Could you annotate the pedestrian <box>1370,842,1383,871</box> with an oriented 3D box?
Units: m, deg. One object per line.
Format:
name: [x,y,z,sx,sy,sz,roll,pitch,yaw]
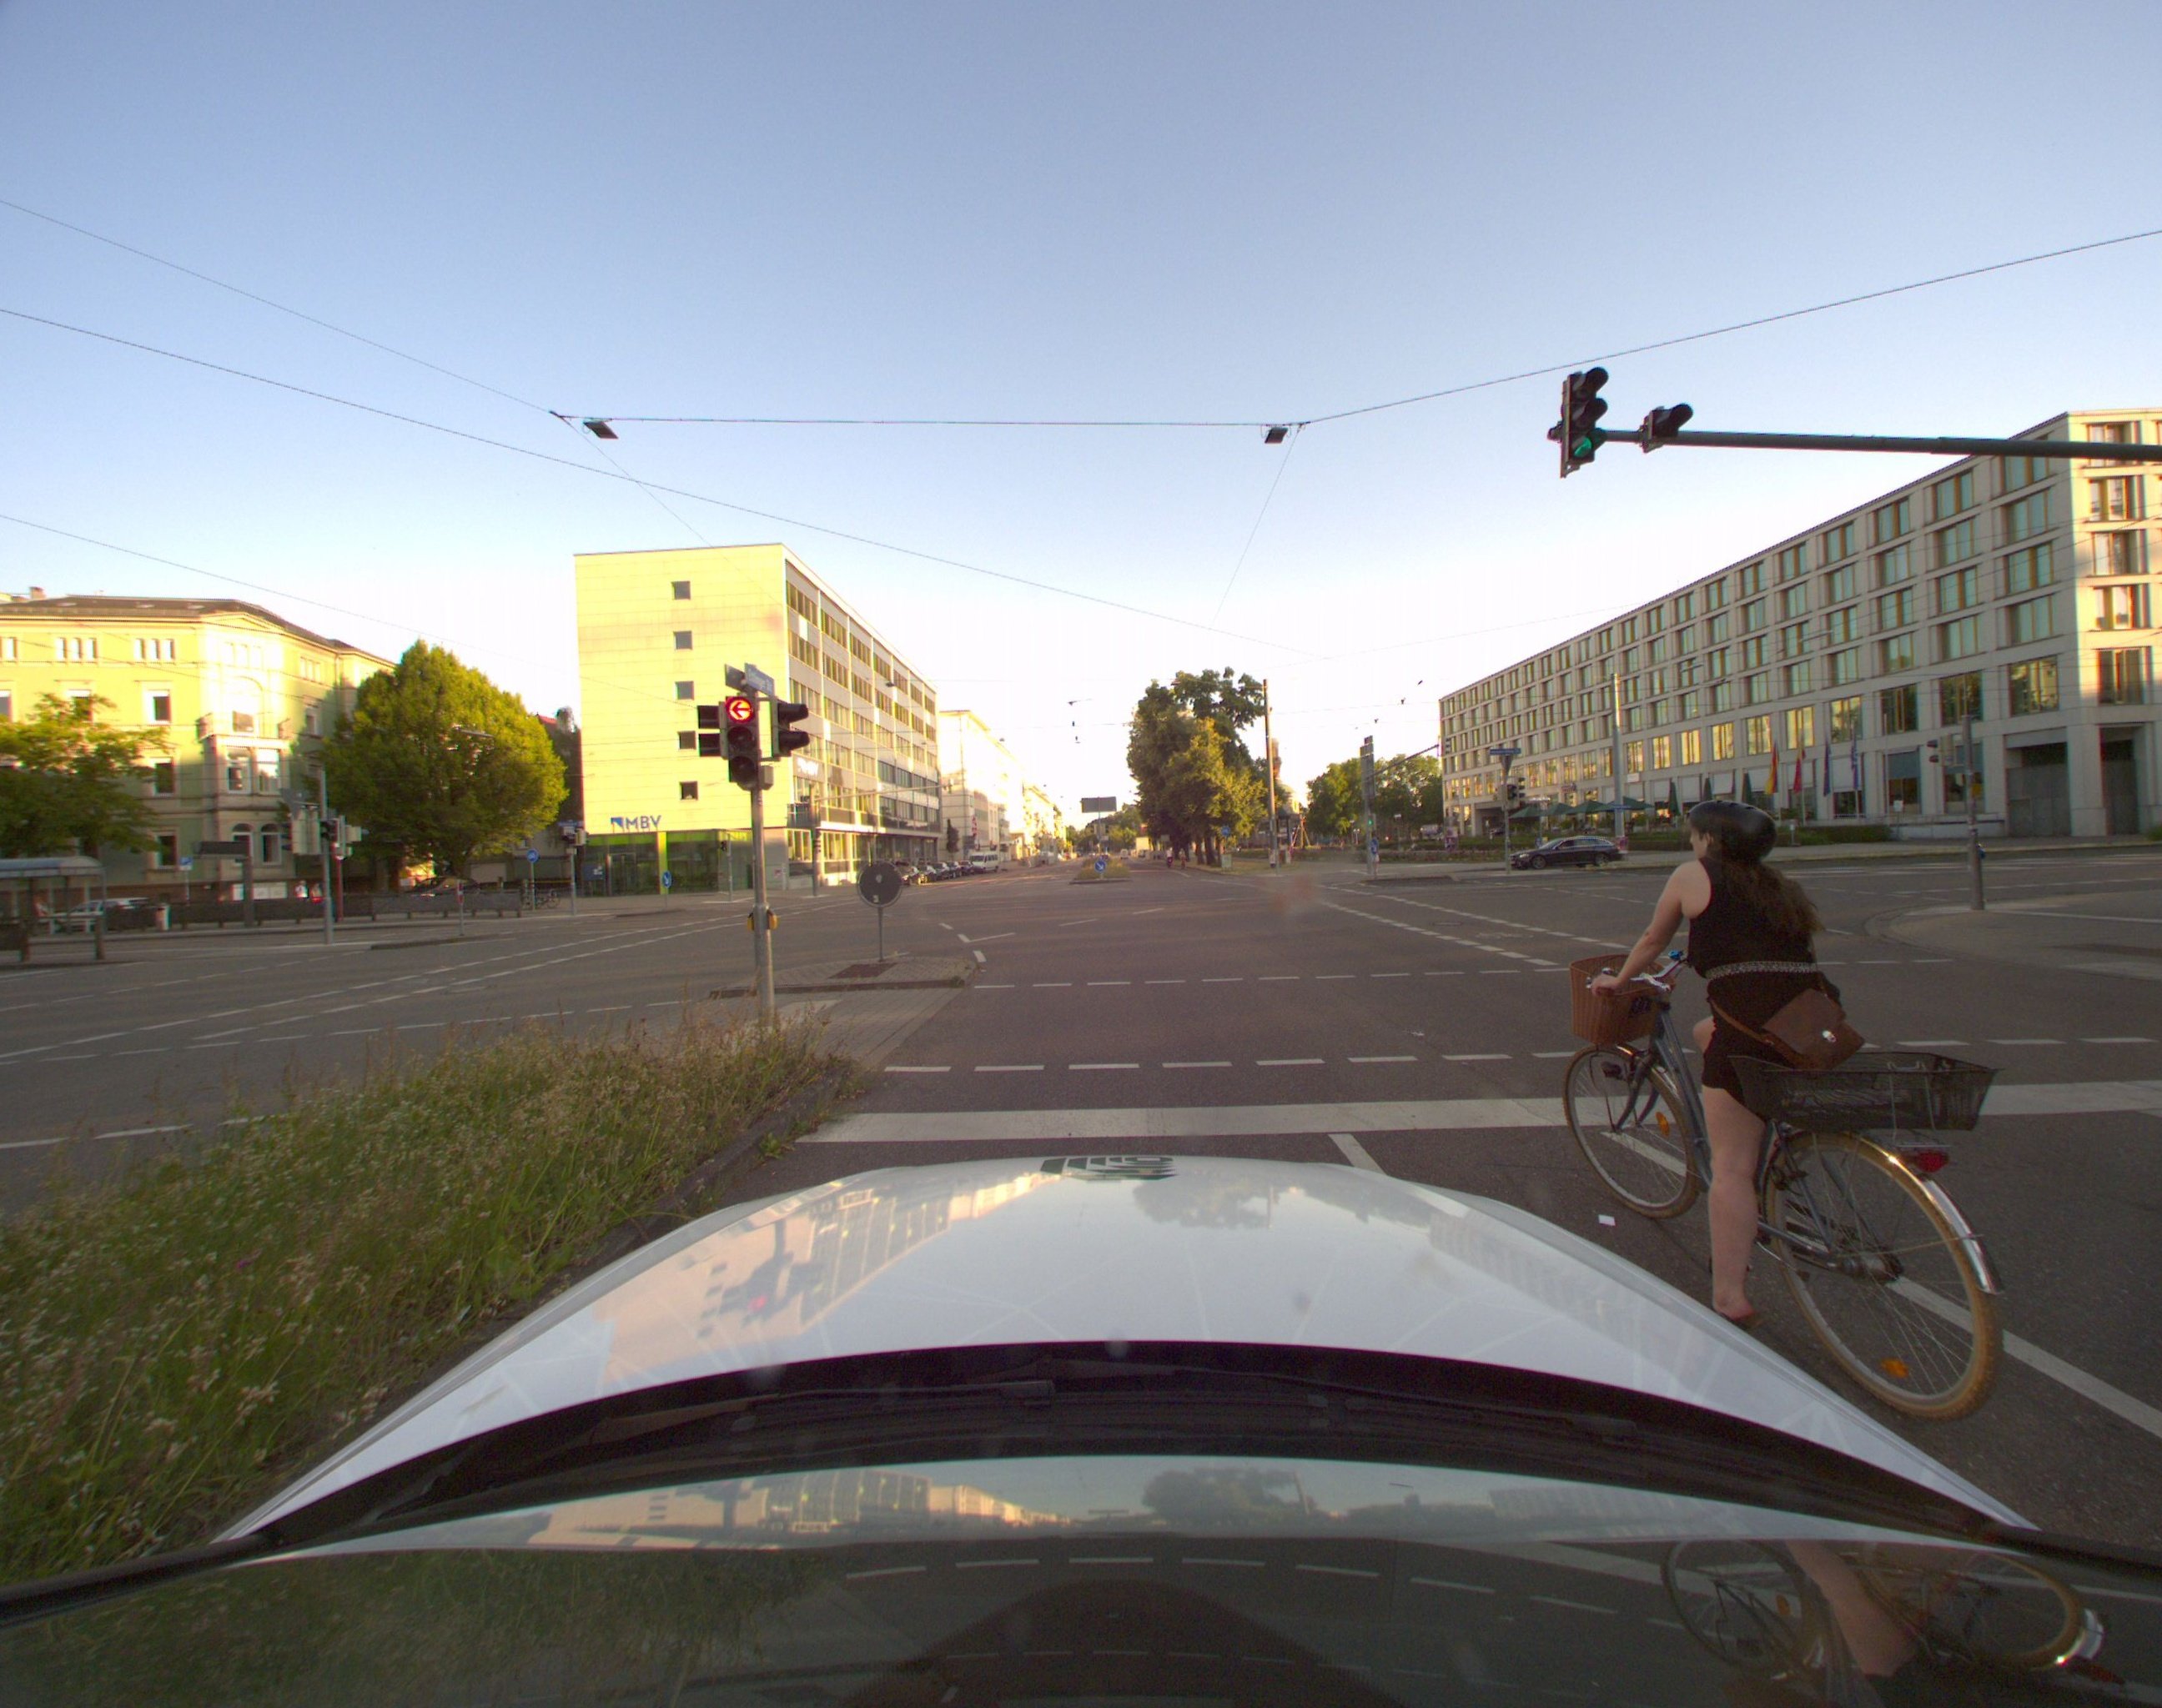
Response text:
pedestrian: [15.714,0.146,43.343,0.489,1.540,0.408,-3,0,1]

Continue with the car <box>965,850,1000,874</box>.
car: [-11.061,0.860,91.687,1.988,2.478,5.888,-3,0,12]

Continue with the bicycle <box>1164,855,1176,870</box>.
bicycle: [7.397,0.678,67.851,0.744,1.144,2.506,-3,0,2]

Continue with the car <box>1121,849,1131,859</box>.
car: [7.787,0.020,140.786,1.403,1.641,4.000,-3,0,1]

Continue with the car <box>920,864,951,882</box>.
car: [-13.107,1.678,73.728,1.913,1.464,4.002,-3,0,2]

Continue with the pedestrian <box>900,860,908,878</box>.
pedestrian: [-16.999,1.412,78.188,0.498,1.679,0.500,-3,0,1]

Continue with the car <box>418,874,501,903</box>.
car: [-35.000,1.906,45.975,1.830,1.372,3.594,-3,0,0]

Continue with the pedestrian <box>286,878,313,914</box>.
pedestrian: [-40.457,2.151,42.159,0.641,1.790,0.720,-3,0,-12]

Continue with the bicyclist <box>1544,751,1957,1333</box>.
bicyclist: [2.175,0.531,2.803,0.597,1.636,0.999,-1,0,2]

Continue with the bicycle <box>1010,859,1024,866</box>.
bicycle: [-10.006,1.331,127.504,2.198,1.112,0.689,-3,0,0]

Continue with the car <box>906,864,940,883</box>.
car: [-13.315,1.641,68.915,1.913,1.464,4.002,-3,0,2]

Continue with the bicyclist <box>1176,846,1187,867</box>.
bicyclist: [8.335,0.181,67.327,0.744,1.691,0.799,-3,0,1]

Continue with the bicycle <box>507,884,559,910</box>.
bicycle: [-26.780,2.105,39.860,0.832,1.112,2.216,-3,0,6]

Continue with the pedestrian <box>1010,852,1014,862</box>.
pedestrian: [-14.099,0.598,165.442,0.677,2.013,0.545,-3,0,1]

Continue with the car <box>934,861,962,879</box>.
car: [-12.855,1.568,79.030,1.913,1.568,4.002,-3,0,2]

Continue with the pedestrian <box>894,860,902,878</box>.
pedestrian: [-17.414,1.391,77.548,0.549,1.679,0.500,-3,0,1]

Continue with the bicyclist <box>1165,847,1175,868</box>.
bicyclist: [7.350,0.268,67.362,0.744,1.663,0.873,-3,0,1]

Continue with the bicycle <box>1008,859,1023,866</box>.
bicycle: [-10.092,1.313,125.863,2.198,1.112,0.619,-3,0,0]

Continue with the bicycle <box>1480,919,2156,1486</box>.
bicycle: [2.179,0.883,2.872,0.609,1.132,2.005,-1,0,2]

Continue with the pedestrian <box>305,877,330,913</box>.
pedestrian: [-40.240,2.154,42.920,0.641,1.790,0.720,-3,0,-12]

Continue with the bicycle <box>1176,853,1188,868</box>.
bicycle: [8.356,0.536,67.388,0.744,1.144,2.506,-3,0,2]

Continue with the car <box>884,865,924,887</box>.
car: [-13.512,1.654,62.401,1.913,1.464,4.105,-3,0,2]

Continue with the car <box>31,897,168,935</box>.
car: [-45.269,2.842,37.668,3.588,1.372,1.833,-3,0,-15]

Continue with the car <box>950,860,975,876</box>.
car: [-12.387,1.440,85.253,1.913,1.568,4.002,-3,0,2]

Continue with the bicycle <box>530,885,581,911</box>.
bicycle: [-25.609,2.115,39.745,0.832,1.112,2.216,-3,0,6]

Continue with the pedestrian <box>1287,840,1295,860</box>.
pedestrian: [17.791,-0.328,68.983,0.458,1.656,0.567,-3,0,1]

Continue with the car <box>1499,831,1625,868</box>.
car: [23.083,-0.196,39.244,4.803,1.515,2.002,-3,0,4]

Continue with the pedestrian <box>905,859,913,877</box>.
pedestrian: [-16.410,1.340,77.714,0.549,1.679,0.500,-3,0,1]

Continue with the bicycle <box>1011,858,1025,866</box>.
bicycle: [-10.002,1.290,129.338,2.198,1.236,0.839,-3,0,0]

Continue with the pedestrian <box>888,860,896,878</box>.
pedestrian: [-18.050,1.397,77.693,0.549,1.679,0.500,-3,0,1]

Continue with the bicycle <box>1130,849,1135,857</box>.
bicycle: [13.039,-0.260,207.413,0.997,2.013,4.007,-3,0,6]
